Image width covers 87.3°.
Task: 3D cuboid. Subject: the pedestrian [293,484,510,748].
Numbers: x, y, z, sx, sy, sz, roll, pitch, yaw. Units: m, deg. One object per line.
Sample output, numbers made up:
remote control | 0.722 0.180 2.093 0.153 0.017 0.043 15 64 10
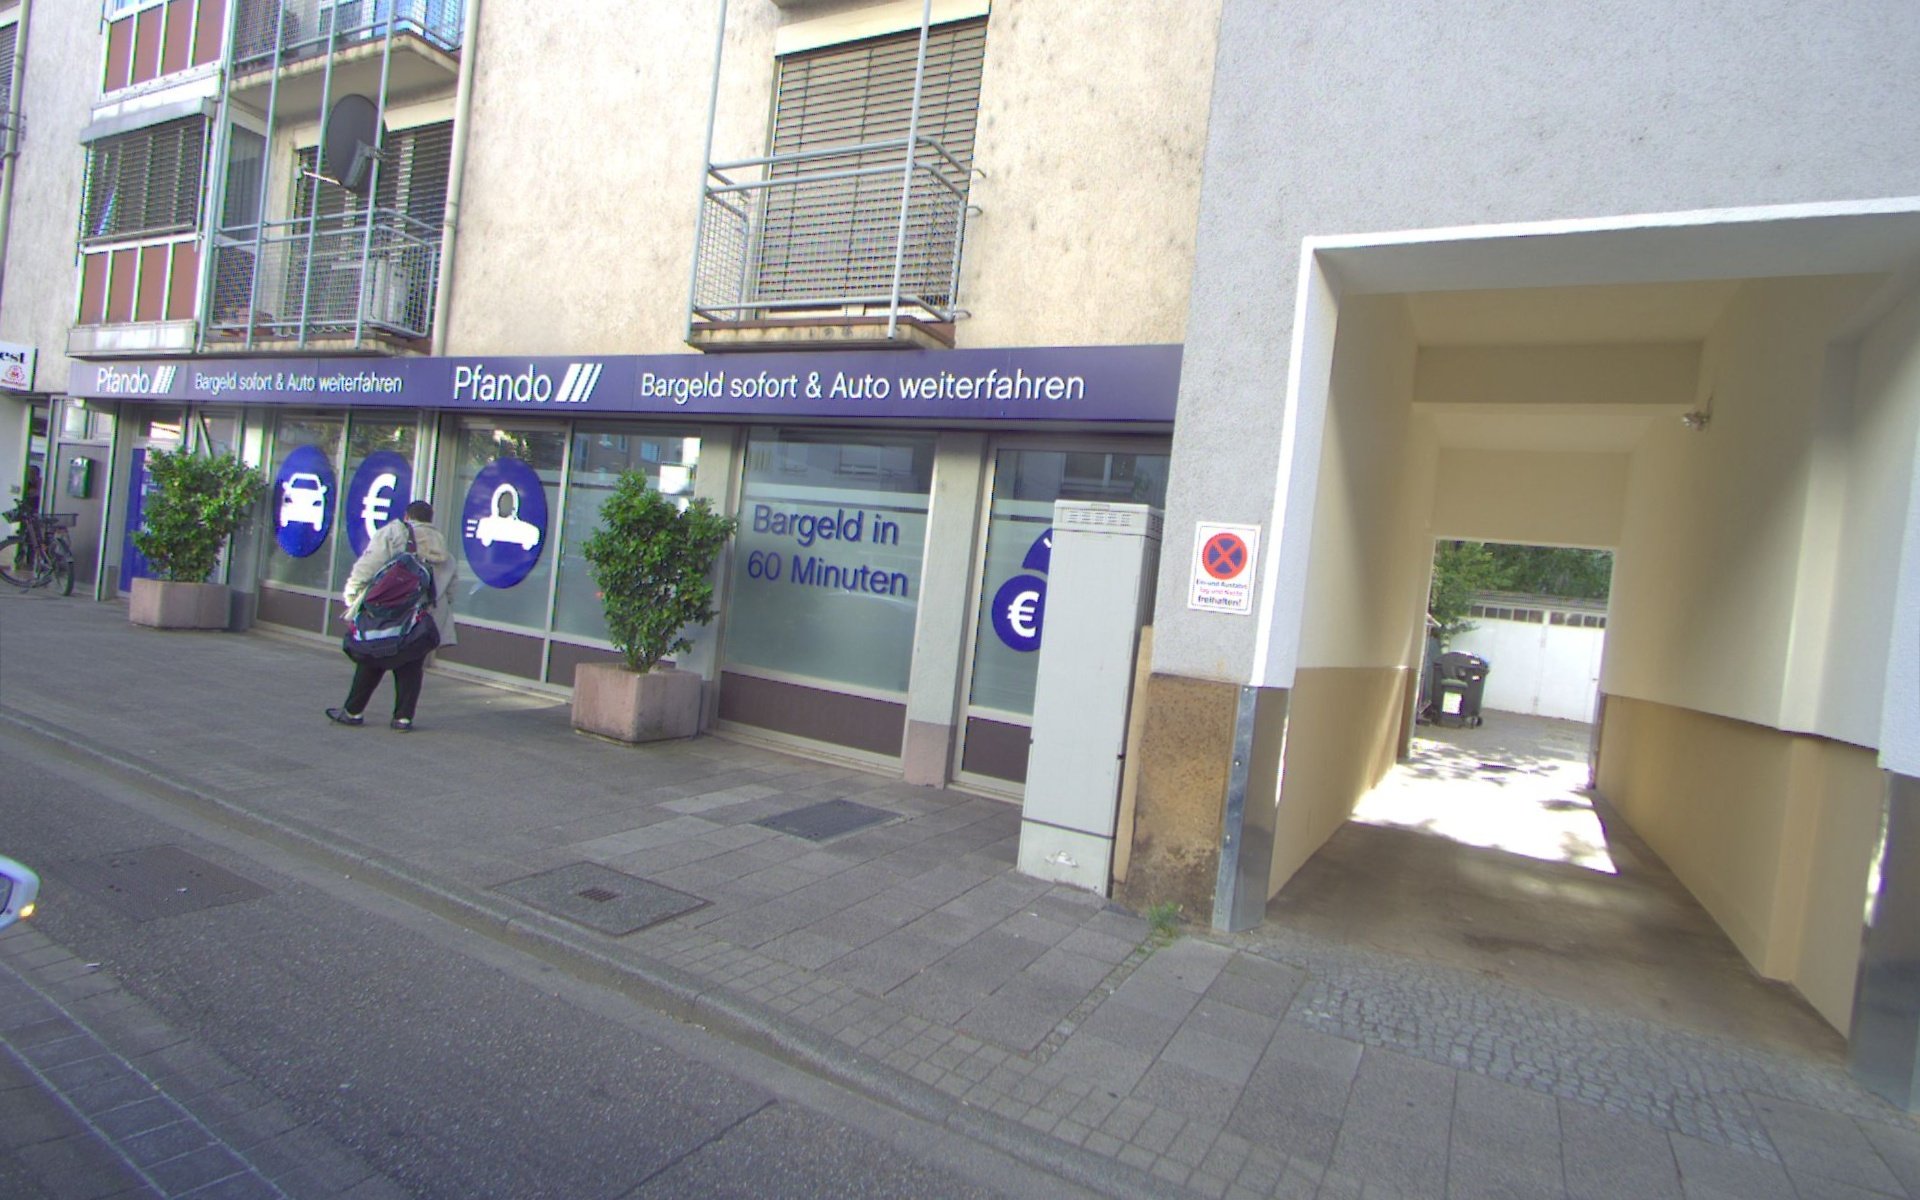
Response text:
pedestrian | -3.762 0.092 6.800 0.853 1.593 0.874 8 3 29

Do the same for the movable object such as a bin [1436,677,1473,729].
movable object such as a bin | 9.566 1.976 19.455 0.518 0.922 0.580 7 1 29

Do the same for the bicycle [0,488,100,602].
bicycle | -11.838 -0.730 12.878 1.879 1.280 0.640 7 1 32

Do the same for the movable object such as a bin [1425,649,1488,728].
movable object such as a bin | 10.117 1.784 20.458 0.945 1.426 1.598 7 1 29
